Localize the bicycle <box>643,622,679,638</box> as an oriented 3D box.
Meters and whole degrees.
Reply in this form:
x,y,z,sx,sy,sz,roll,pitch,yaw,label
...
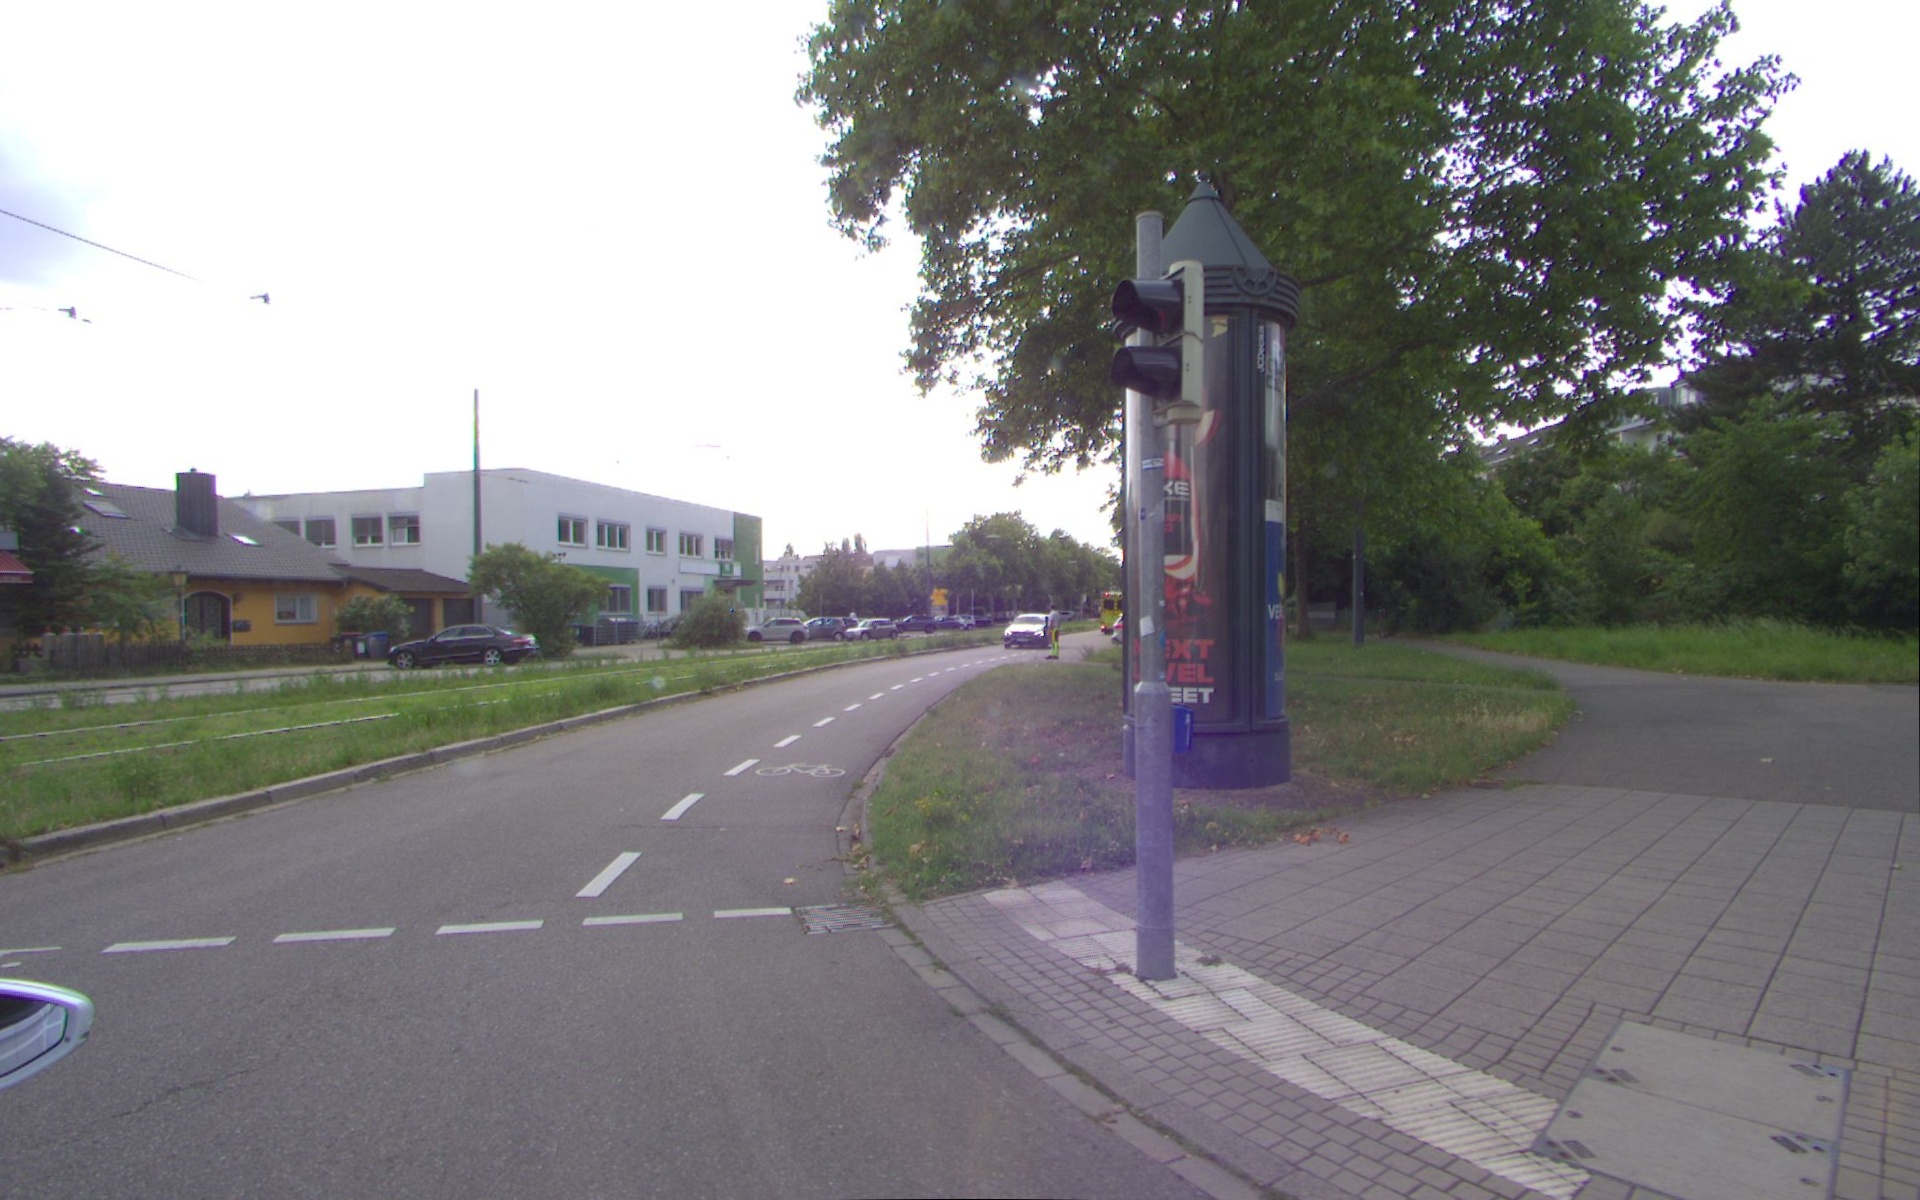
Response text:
x,y,z,sx,sy,sz,roll,pitch,yaw,label
-19.052,1.900,63.829,2.121,0.983,0.729,-1,0,19,bicycle

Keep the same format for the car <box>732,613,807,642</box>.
x,y,z,sx,sy,sz,roll,pitch,yaw,label
-11.459,1.652,60.260,4.240,1.650,1.898,0,0,-19,car

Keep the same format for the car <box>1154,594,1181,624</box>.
x,y,z,sx,sy,sz,roll,pitch,yaw,label
24.399,1.112,117.555,2.919,3.373,7.455,1,-1,13,car

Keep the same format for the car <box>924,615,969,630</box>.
x,y,z,sx,sy,sz,roll,pitch,yaw,label
-1.326,2.246,99.215,4.233,1.381,1.901,-1,0,-8,car

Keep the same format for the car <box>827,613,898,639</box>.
x,y,z,sx,sy,sz,roll,pitch,yaw,label
-6.190,1.643,63.903,4.271,1.650,1.884,1,-1,-43,car

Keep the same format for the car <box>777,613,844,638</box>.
x,y,z,sx,sy,sz,roll,pitch,yaw,label
-9.891,1.680,66.118,4.236,1.650,1.900,0,0,-13,car

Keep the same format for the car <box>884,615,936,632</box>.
x,y,z,sx,sy,sz,roll,pitch,yaw,label
-4.286,1.969,85.936,4.233,1.381,1.901,-1,0,-9,car

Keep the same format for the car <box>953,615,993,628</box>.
x,y,z,sx,sy,sz,roll,pitch,yaw,label
1.412,2.329,109.994,4.233,1.381,1.901,-1,0,-8,car

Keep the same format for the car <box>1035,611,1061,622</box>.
x,y,z,sx,sy,sz,roll,pitch,yaw,label
15.055,2.815,171.397,3.930,1.862,1.818,2,0,-17,car

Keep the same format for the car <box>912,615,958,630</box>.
x,y,z,sx,sy,sz,roll,pitch,yaw,label
-2.372,2.174,96.059,4.233,1.381,1.901,-1,0,-8,car

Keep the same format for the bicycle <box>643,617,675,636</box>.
x,y,z,sx,sy,sz,roll,pitch,yaw,label
-18.353,1.610,61.050,1.764,1.096,0.736,-1,0,12,bicycle

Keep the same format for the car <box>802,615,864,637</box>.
x,y,z,sx,sy,sz,roll,pitch,yaw,label
-8.753,1.772,69.020,4.094,1.523,1.859,0,0,-13,car

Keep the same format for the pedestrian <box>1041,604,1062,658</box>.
x,y,z,sx,sy,sz,roll,pitch,yaw,label
2.889,0.969,31.650,0.576,1.706,0.494,0,0,13,pedestrian

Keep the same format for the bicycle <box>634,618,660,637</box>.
x,y,z,sx,sy,sz,roll,pitch,yaw,label
-19.503,1.696,62.362,1.597,1.181,0.702,-1,0,31,bicycle

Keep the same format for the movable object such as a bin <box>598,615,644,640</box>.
x,y,z,sx,sy,sz,roll,pitch,yaw,label
-18.632,1.485,55.059,1.352,1.344,2.128,-1,0,18,movable object such as a bin

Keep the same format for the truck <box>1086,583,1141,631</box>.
x,y,z,sx,sy,sz,roll,pitch,yaw,label
11.425,0.533,73.734,3.135,3.361,7.514,-1,-1,15,truck

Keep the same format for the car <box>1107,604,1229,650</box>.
x,y,z,sx,sy,sz,roll,pitch,yaw,label
7.944,1.045,38.338,4.458,1.665,1.999,-1,-2,13,car

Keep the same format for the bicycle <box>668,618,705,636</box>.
x,y,z,sx,sy,sz,roll,pitch,yaw,label
-17.905,1.761,65.643,2.377,1.181,0.746,-1,0,22,bicycle

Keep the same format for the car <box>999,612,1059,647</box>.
x,y,z,sx,sy,sz,roll,pitch,yaw,label
3.026,1.241,43.250,1.807,1.411,4.602,0,-1,14,car

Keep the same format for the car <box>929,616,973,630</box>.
x,y,z,sx,sy,sz,roll,pitch,yaw,label
-0.899,2.296,101.777,4.233,1.381,1.901,-1,0,-8,car

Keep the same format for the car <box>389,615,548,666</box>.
x,y,z,sx,sy,sz,roll,pitch,yaw,label
-16.926,1.373,34.667,4.491,1.601,2.000,-2,0,-5,car

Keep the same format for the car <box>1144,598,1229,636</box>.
x,y,z,sx,sy,sz,roll,pitch,yaw,label
12.520,0.960,55.247,4.473,2.040,1.998,-1,-1,15,car

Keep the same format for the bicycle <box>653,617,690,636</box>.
x,y,z,sx,sy,sz,roll,pitch,yaw,label
-18.606,1.723,64.650,2.311,1.181,0.759,-1,0,21,bicycle

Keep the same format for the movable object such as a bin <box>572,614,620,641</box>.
x,y,z,sx,sy,sz,roll,pitch,yaw,label
-19.241,1.437,52.958,1.352,1.344,2.113,-1,0,18,movable object such as a bin
